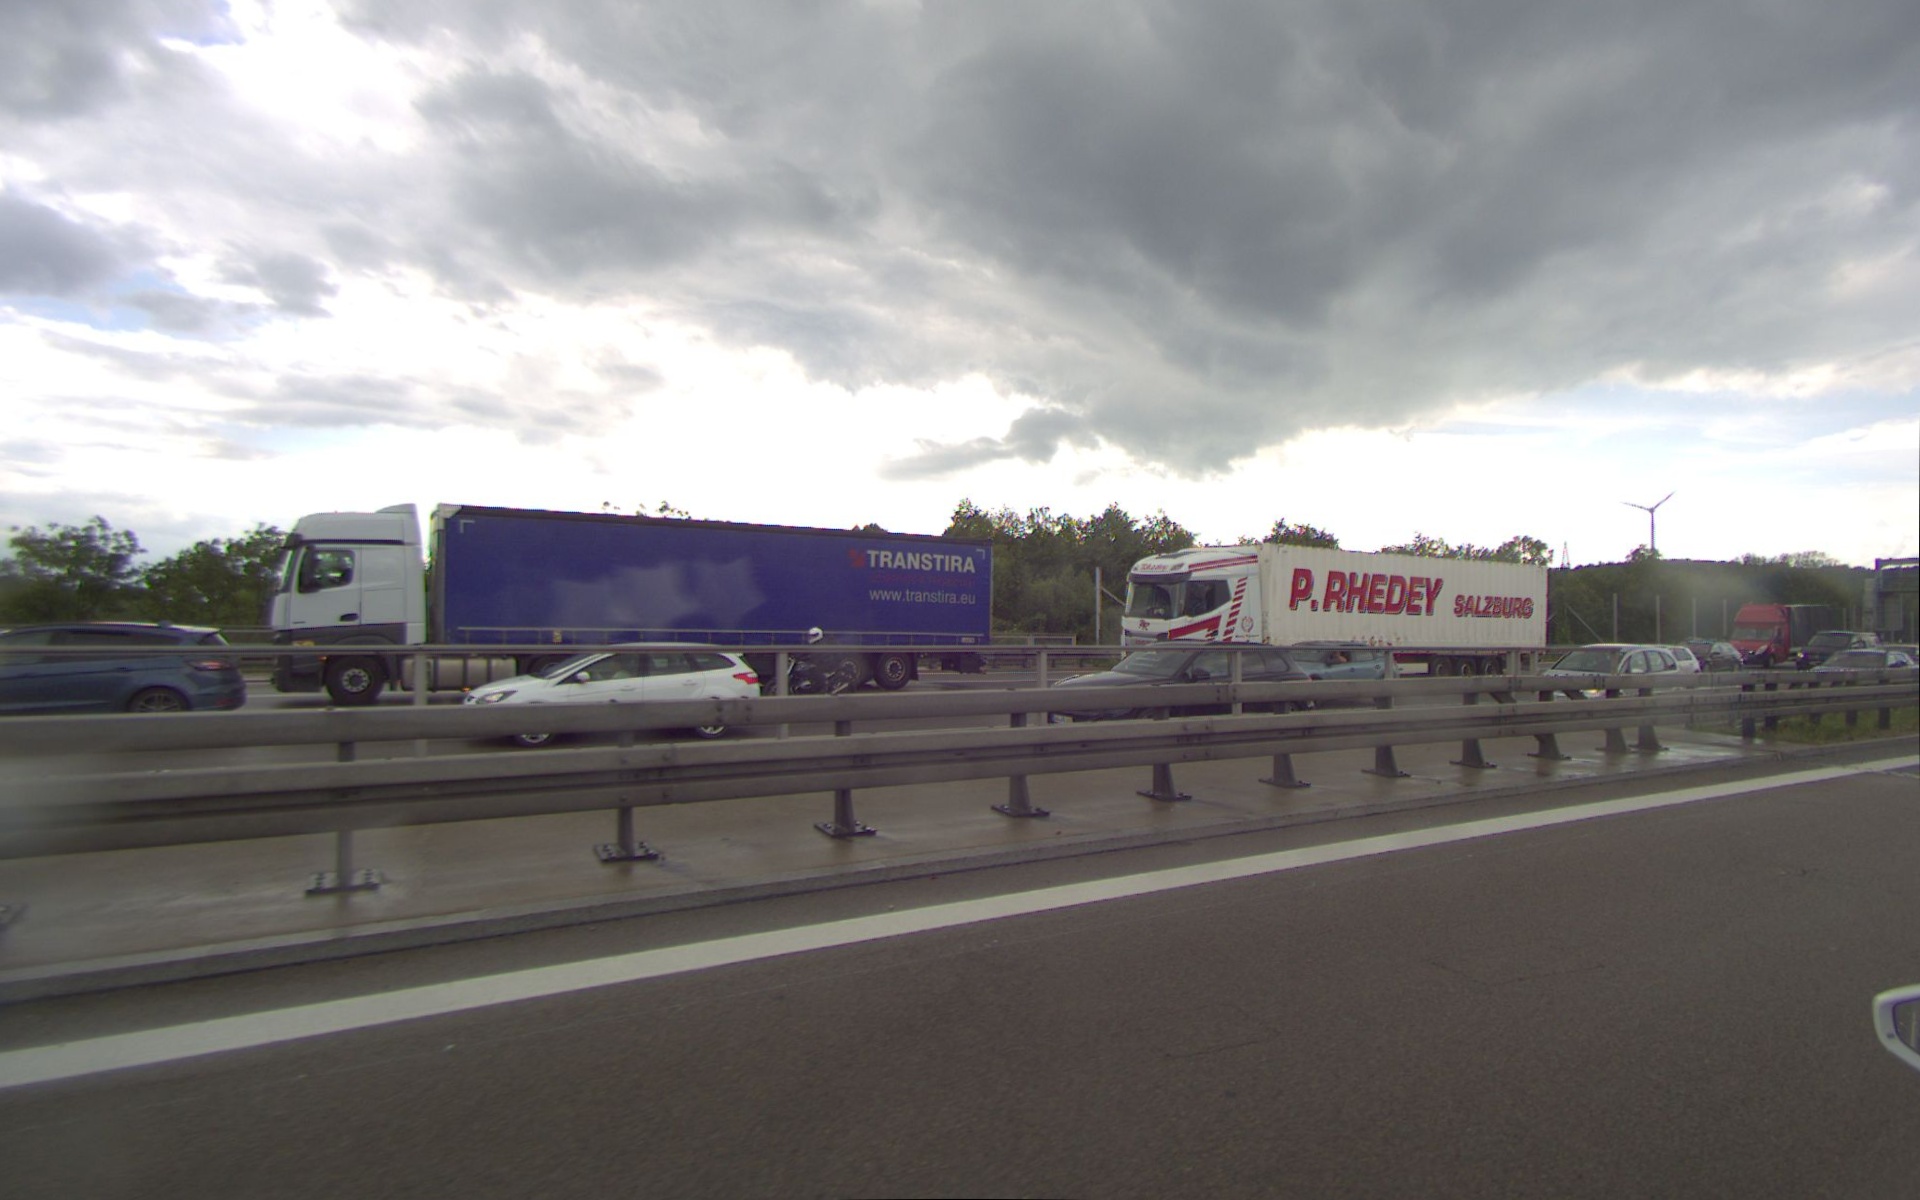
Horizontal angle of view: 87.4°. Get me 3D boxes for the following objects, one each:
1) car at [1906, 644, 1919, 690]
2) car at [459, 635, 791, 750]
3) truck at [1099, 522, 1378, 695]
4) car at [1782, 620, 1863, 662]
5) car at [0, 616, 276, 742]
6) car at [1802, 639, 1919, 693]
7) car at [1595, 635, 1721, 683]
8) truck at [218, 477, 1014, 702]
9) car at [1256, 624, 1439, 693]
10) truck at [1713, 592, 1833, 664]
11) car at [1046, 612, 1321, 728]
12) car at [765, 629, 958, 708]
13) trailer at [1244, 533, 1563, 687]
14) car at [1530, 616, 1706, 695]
[{"bbox_3d":[37.712,2.493,37.827,4.667,1.669,1.863,1,-1,-31],"label":"car"},{"bbox_3d":[-5.232,1.357,15.939,4.802,1.530,1.638,1,-1,-30],"label":"car"},{"bbox_3d":[7.837,0.259,27.973,7.649,4.250,3.162,1,-1,-31],"label":"truck"},{"bbox_3d":[41.528,1.943,48.337,4.765,1.915,1.575,1,-1,-31],"label":"car"},{"bbox_3d":[-13.299,1.127,15.356,4.521,1.771,1.959,1,-1,-30],"label":"car"},{"bbox_3d":[27.508,1.944,30.399,4.674,1.459,1.638,1,-1,-30],"label":"car"},{"bbox_3d":[22.822,1.893,32.807,4.490,1.426,1.638,1,-1,-30],"label":"car"},{"bbox_3d":[-6.656,-0.088,23.984,17.546,4.074,2.634,1,-1,-32],"label":"truck"},{"bbox_3d":[9.493,1.385,24.499,4.622,1.523,1.637,1,-1,-30],"label":"car"},{"bbox_3d":[42.849,1.436,52.847,7.718,3.584,2.451,1,-1,-31],"label":"truck"},{"bbox_3d":[3.614,1.048,16.072,4.233,1.640,1.784,1,-1,-30],"label":"car"},{"bbox_3d":[-2.160,1.446,22.265,3.953,1.566,1.638,1,-1,-30],"label":"car"},{"bbox_3d":[14.423,0.351,32.046,11.820,4.250,3.170,1,-1,-31],"label":"trailer"},{"bbox_3d":[14.954,1.220,22.790,3.953,1.640,1.784,1,-1,-30],"label":"car"}]
